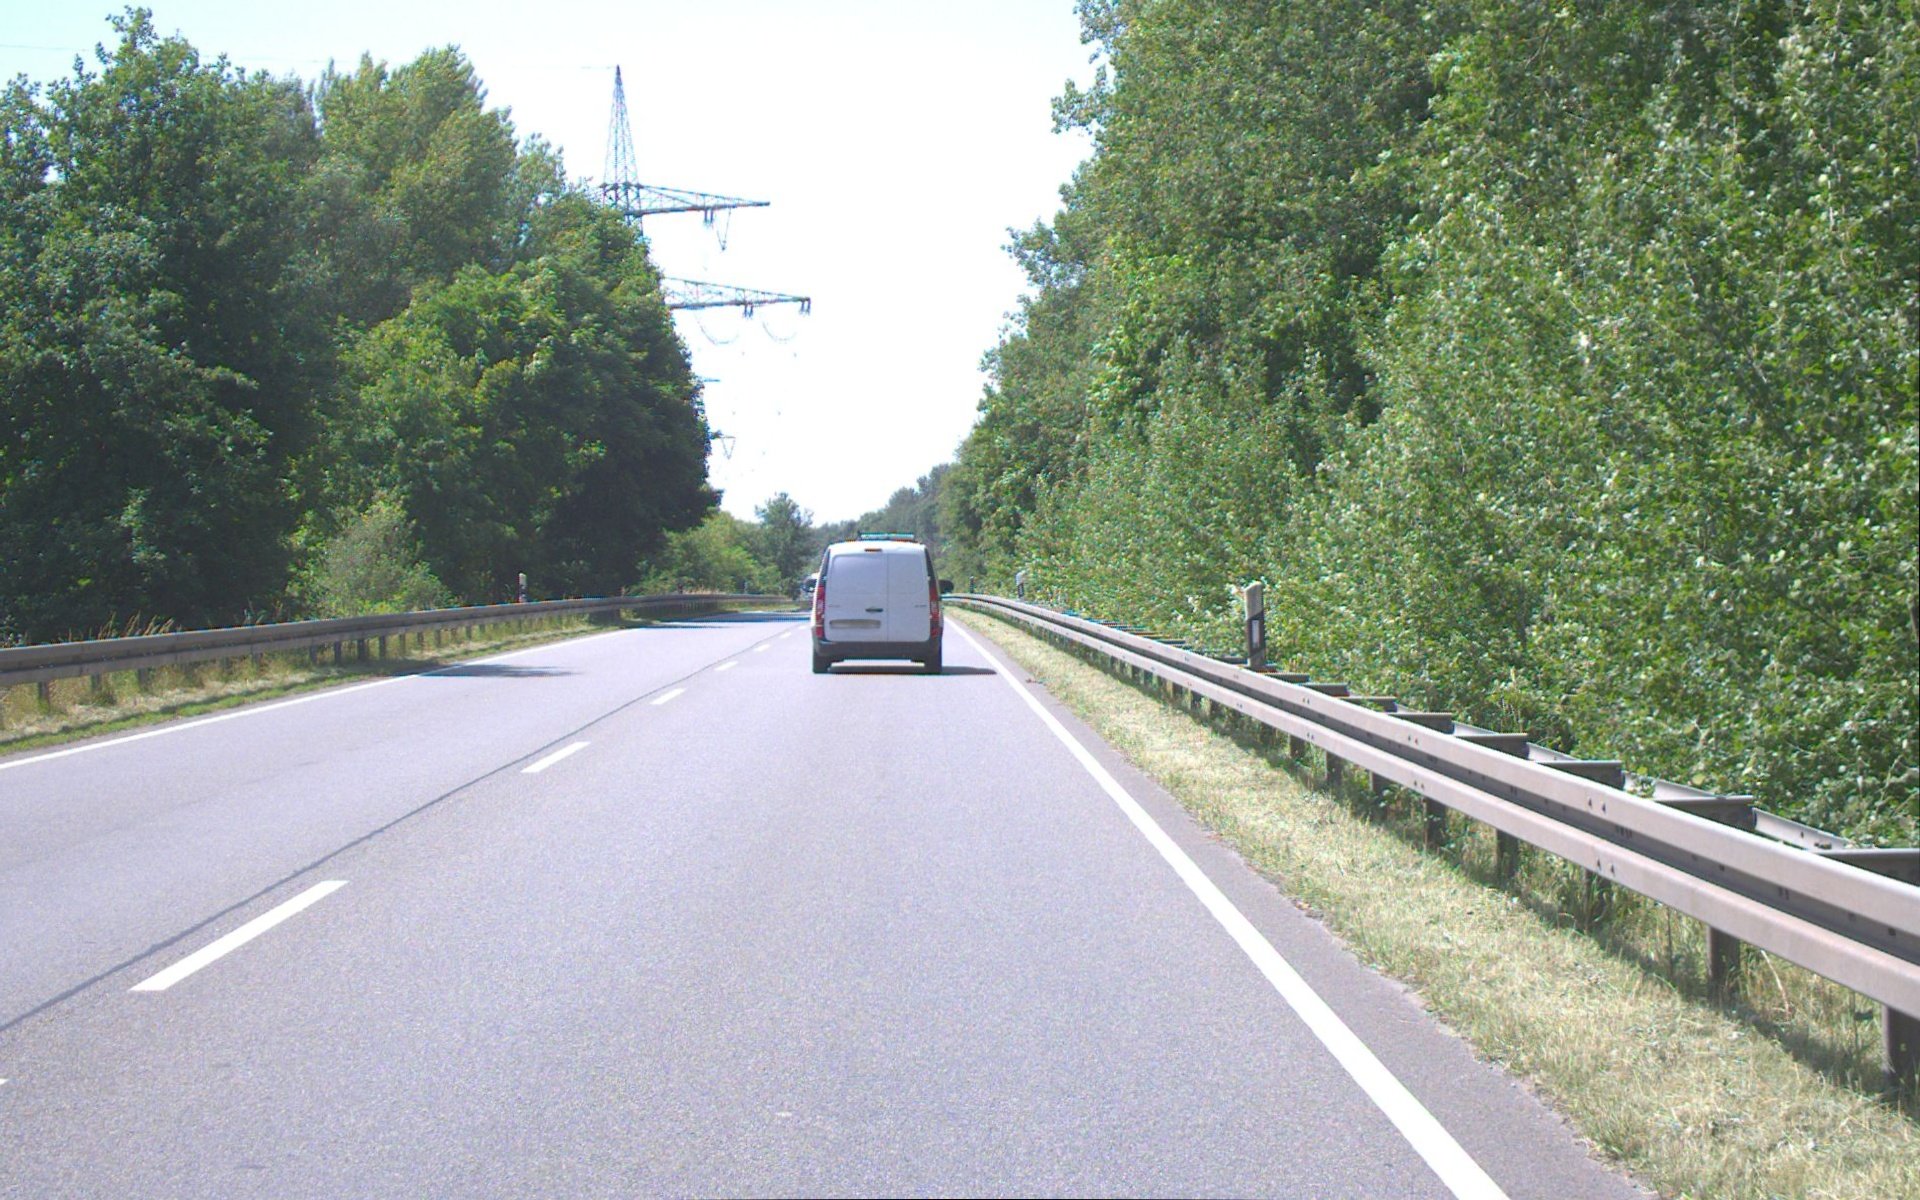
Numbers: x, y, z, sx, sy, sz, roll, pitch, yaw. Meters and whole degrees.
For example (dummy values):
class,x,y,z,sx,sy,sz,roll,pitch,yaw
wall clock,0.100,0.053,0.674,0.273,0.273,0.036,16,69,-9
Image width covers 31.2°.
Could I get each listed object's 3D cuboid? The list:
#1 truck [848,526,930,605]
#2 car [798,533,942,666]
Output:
class,x,y,z,sx,sy,sz,roll,pitch,yaw
truck,-3.025,-1.520,146.025,3.296,3.161,14.405,1,1,-1
car,-1.232,-0.044,47.339,1.875,1.735,4.000,1,1,-1
